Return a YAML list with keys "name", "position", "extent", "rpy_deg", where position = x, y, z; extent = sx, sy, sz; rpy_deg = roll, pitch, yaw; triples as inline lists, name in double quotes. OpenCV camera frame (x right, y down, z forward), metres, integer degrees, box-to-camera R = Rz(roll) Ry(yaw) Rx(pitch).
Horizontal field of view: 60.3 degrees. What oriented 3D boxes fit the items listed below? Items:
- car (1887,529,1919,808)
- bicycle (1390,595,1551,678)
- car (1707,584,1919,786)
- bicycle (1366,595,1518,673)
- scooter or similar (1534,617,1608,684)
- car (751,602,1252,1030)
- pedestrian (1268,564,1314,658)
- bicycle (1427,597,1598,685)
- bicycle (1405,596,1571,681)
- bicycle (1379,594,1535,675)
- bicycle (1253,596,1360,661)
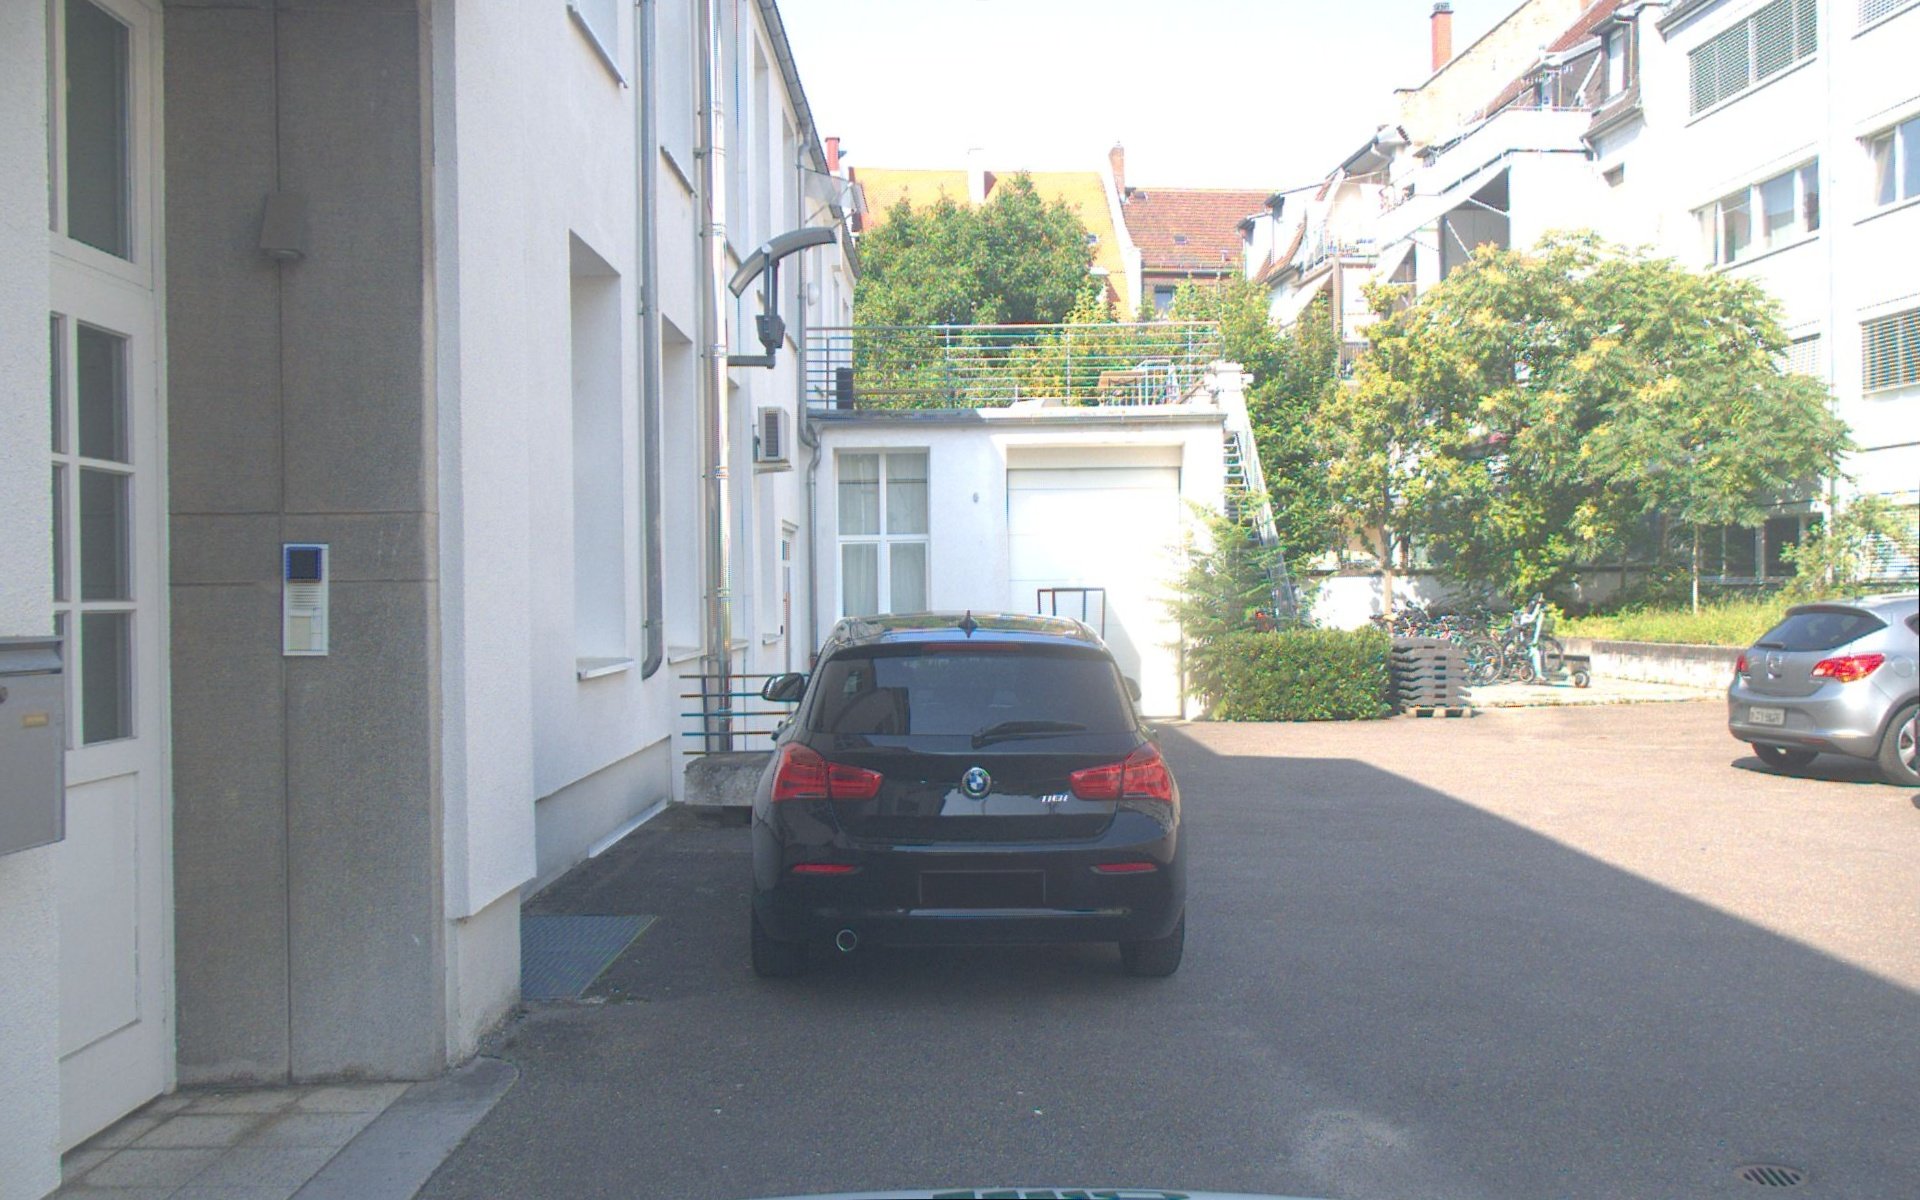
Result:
- name: "car"
  position: [8.701, 0.418, 10.919]
  extent: [4.256, 1.891, 1.910]
  rpy_deg: [-1, 0, -10]
- name: "bicycle"
  position: [8.008, 0.567, 25.984]
  extent: [2.361, 1.268, 0.526]
  rpy_deg: [0, 0, 0]
- name: "car"
  position: [8.460, 0.614, 13.836]
  extent: [3.830, 1.491, 1.657]
  rpy_deg: [-1, 1, -14]
- name: "bicycle"
  position: [7.939, 0.553, 27.278]
  extent: [2.361, 1.268, 0.526]
  rpy_deg: [0, 0, 0]
- name: "scooter or similar"
  position: [8.894, 0.719, 24.101]
  extent: [0.356, 0.940, 0.986]
  rpy_deg: [0, 0, -37]
- name: "car"
  position: [0.064, 0.753, 7.867]
  extent: [1.757, 1.453, 4.134]
  rpy_deg: [0, 0, -3]
- name: "pedestrian"
  position: [6.433, 0.208, 32.185]
  extent: [0.598, 1.802, 0.858]
  rpy_deg: [0, 0, -12]
- name: "bicycle"
  position: [8.147, 0.599, 24.428]
  extent: [2.361, 1.268, 0.526]
  rpy_deg: [0, 0, 0]
- name: "bicycle"
  position: [8.033, 0.582, 25.209]
  extent: [2.361, 1.268, 0.526]
  rpy_deg: [0, 0, 0]
- name: "bicycle"
  position: [7.983, 0.549, 26.617]
  extent: [2.361, 1.268, 0.526]
  rpy_deg: [0, 0, 0]
- name: "bicycle"
  position: [6.667, 0.547, 31.859]
  extent: [1.951, 1.163, 0.488]
  rpy_deg: [-2, 1, -11]
